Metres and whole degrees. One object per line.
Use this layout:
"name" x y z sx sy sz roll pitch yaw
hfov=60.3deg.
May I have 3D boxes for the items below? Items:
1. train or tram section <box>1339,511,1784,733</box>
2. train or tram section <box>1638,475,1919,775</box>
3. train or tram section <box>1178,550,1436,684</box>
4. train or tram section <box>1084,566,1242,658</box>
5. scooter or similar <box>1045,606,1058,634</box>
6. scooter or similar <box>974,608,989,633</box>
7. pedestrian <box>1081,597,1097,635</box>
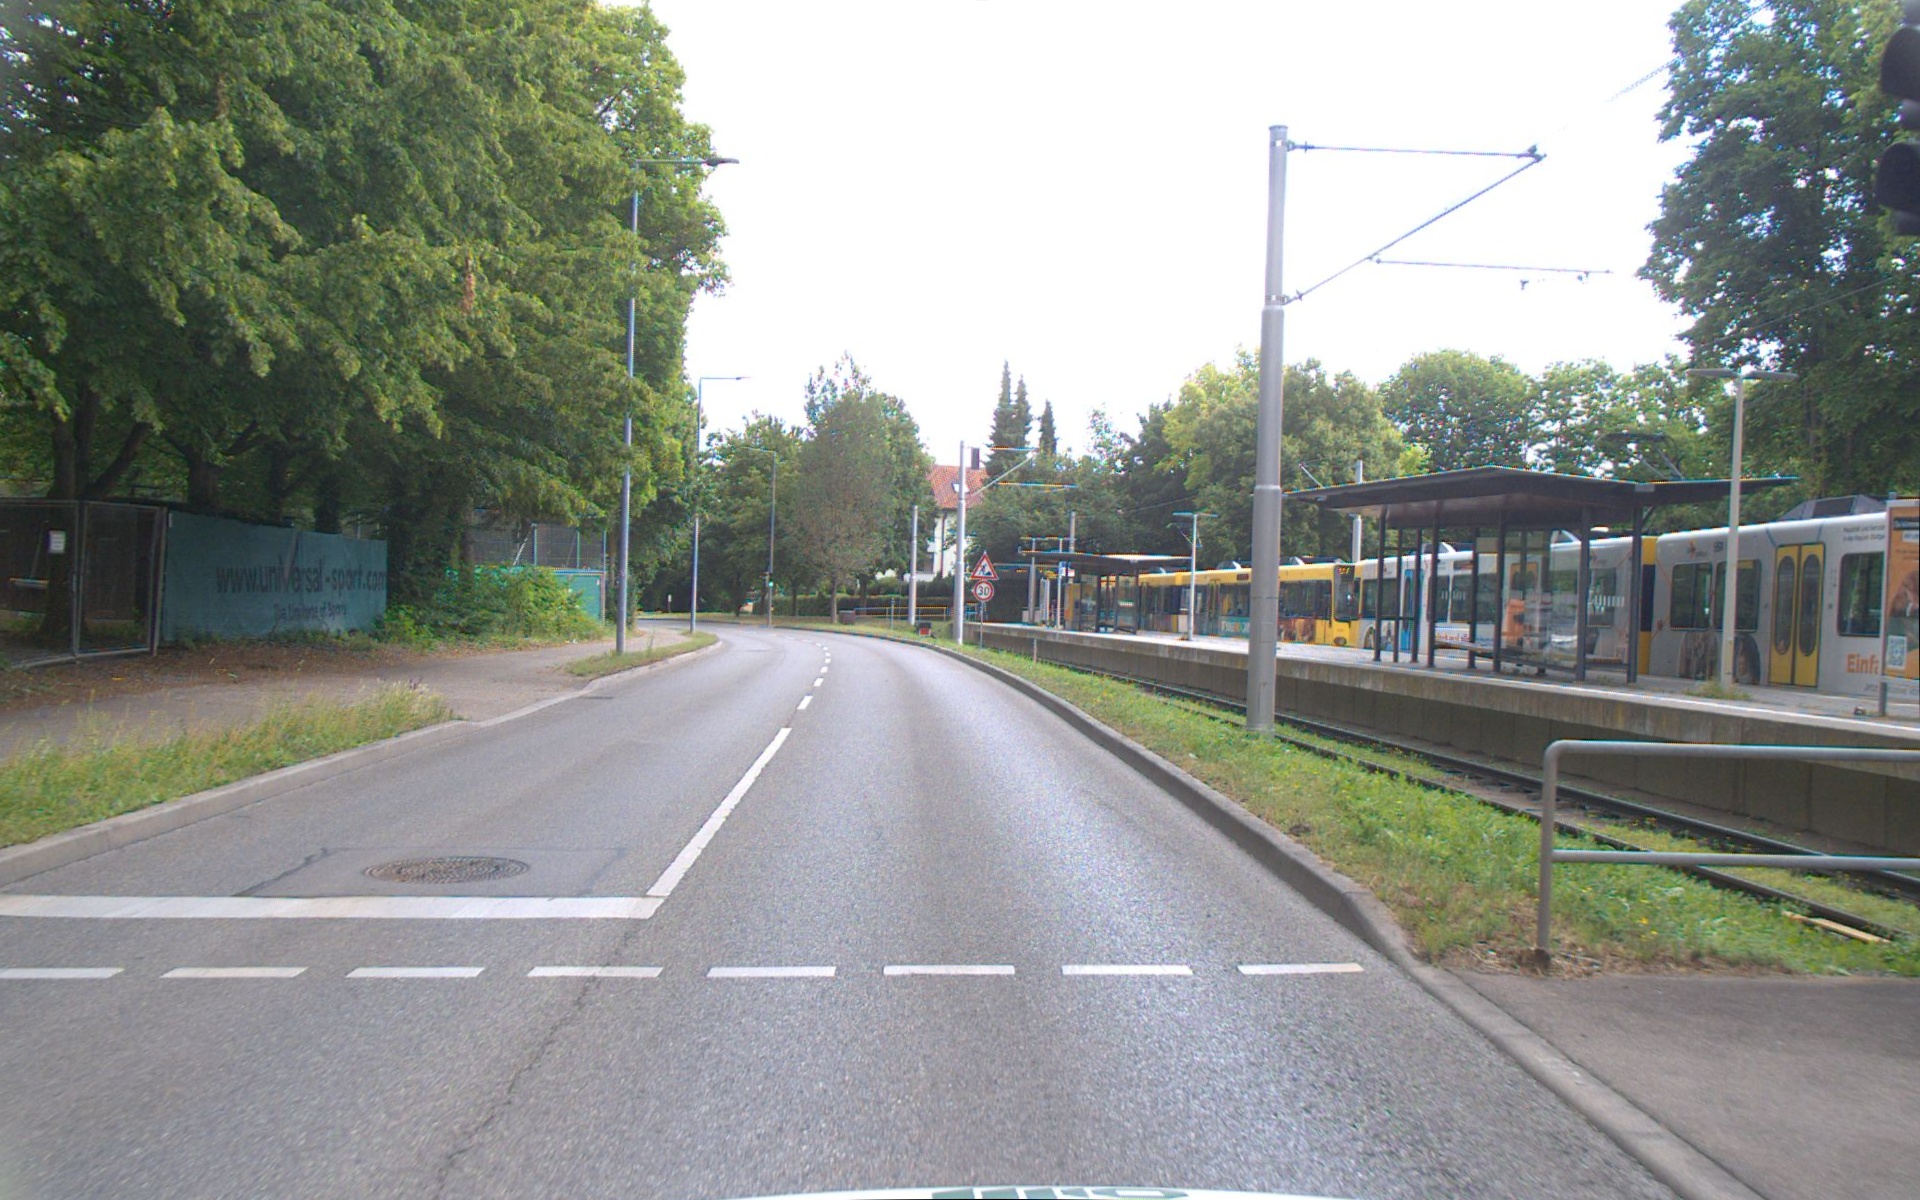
"train or tram section" 13.024 0.439 39.263 2.757 3.865 18.922 3 0 -3
"train or tram section" 13.537 0.361 20.365 2.756 3.802 18.531 3 0 0
"train or tram section" 11.440 0.527 58.113 2.760 3.802 19.485 3 0 -6
"train or tram section" 9.058 0.494 77.529 2.760 3.651 19.485 3 0 -6
"scooter or similar" 4.190 0.899 76.088 0.361 1.264 1.144 1 0 -8
"scooter or similar" 1.110 1.057 85.716 0.423 1.275 1.249 1 -2 -16
"pedestrian" 5.501 0.681 70.597 0.609 1.600 0.665 1 -1 10
